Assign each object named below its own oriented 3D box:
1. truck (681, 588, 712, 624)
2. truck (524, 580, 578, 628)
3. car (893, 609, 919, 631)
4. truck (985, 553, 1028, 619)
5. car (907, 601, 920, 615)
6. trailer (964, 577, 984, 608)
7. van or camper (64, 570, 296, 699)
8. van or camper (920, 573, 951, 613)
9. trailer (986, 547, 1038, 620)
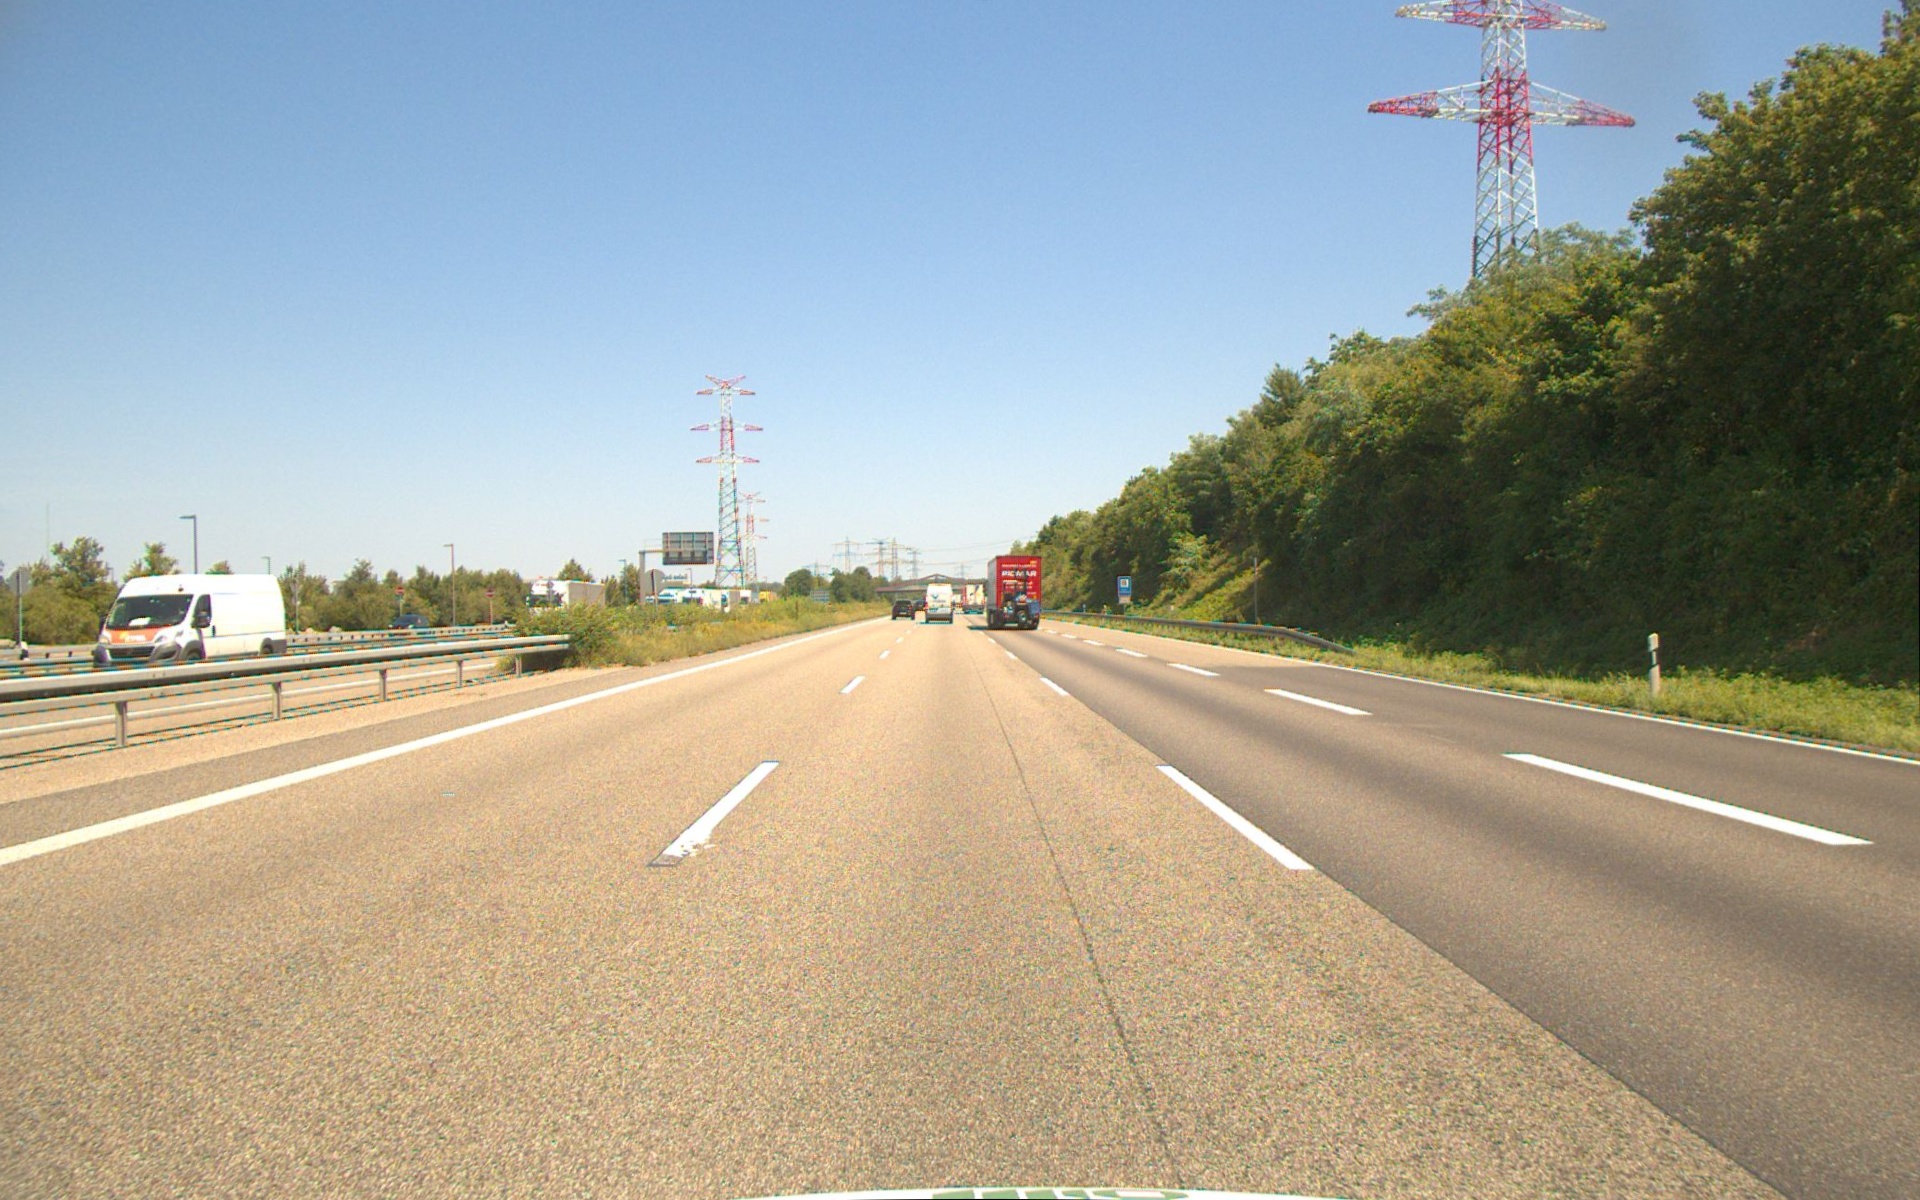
[{"bbox_3d":[-31.764,0.755,199.357,2.529,4.262,7.935,0,0,-1],"label":"truck"},{"bbox_3d":[-32.702,0.355,132.502,2.742,3.707,6.145,1,0,-1],"label":"truck"},{"bbox_3d":[-4.672,1.719,143.052,1.941,1.849,3.813,1,0,2],"label":"car"},{"bbox_3d":[2.868,-0.820,103.646,2.448,3.988,7.095,0,0,-1],"label":"truck"},{"bbox_3d":[-7.102,1.256,253.986,1.931,2.047,4.196,1,0,-1],"label":"car"},{"bbox_3d":[1.863,-0.941,223.834,2.583,4.131,12.366,1,0,1],"label":"trailer"},{"bbox_3d":[-18.074,0.763,38.785,2.369,2.627,6.365,-3,0,-1],"label":"van or camper"},{"bbox_3d":[-1.745,-0.472,120.011,2.184,2.831,5.422,1,0,0],"label":"van or camper"},{"bbox_3d":[2.954,-0.849,96.816,2.439,3.978,14.243,0,0,-1],"label":"trailer"}]
